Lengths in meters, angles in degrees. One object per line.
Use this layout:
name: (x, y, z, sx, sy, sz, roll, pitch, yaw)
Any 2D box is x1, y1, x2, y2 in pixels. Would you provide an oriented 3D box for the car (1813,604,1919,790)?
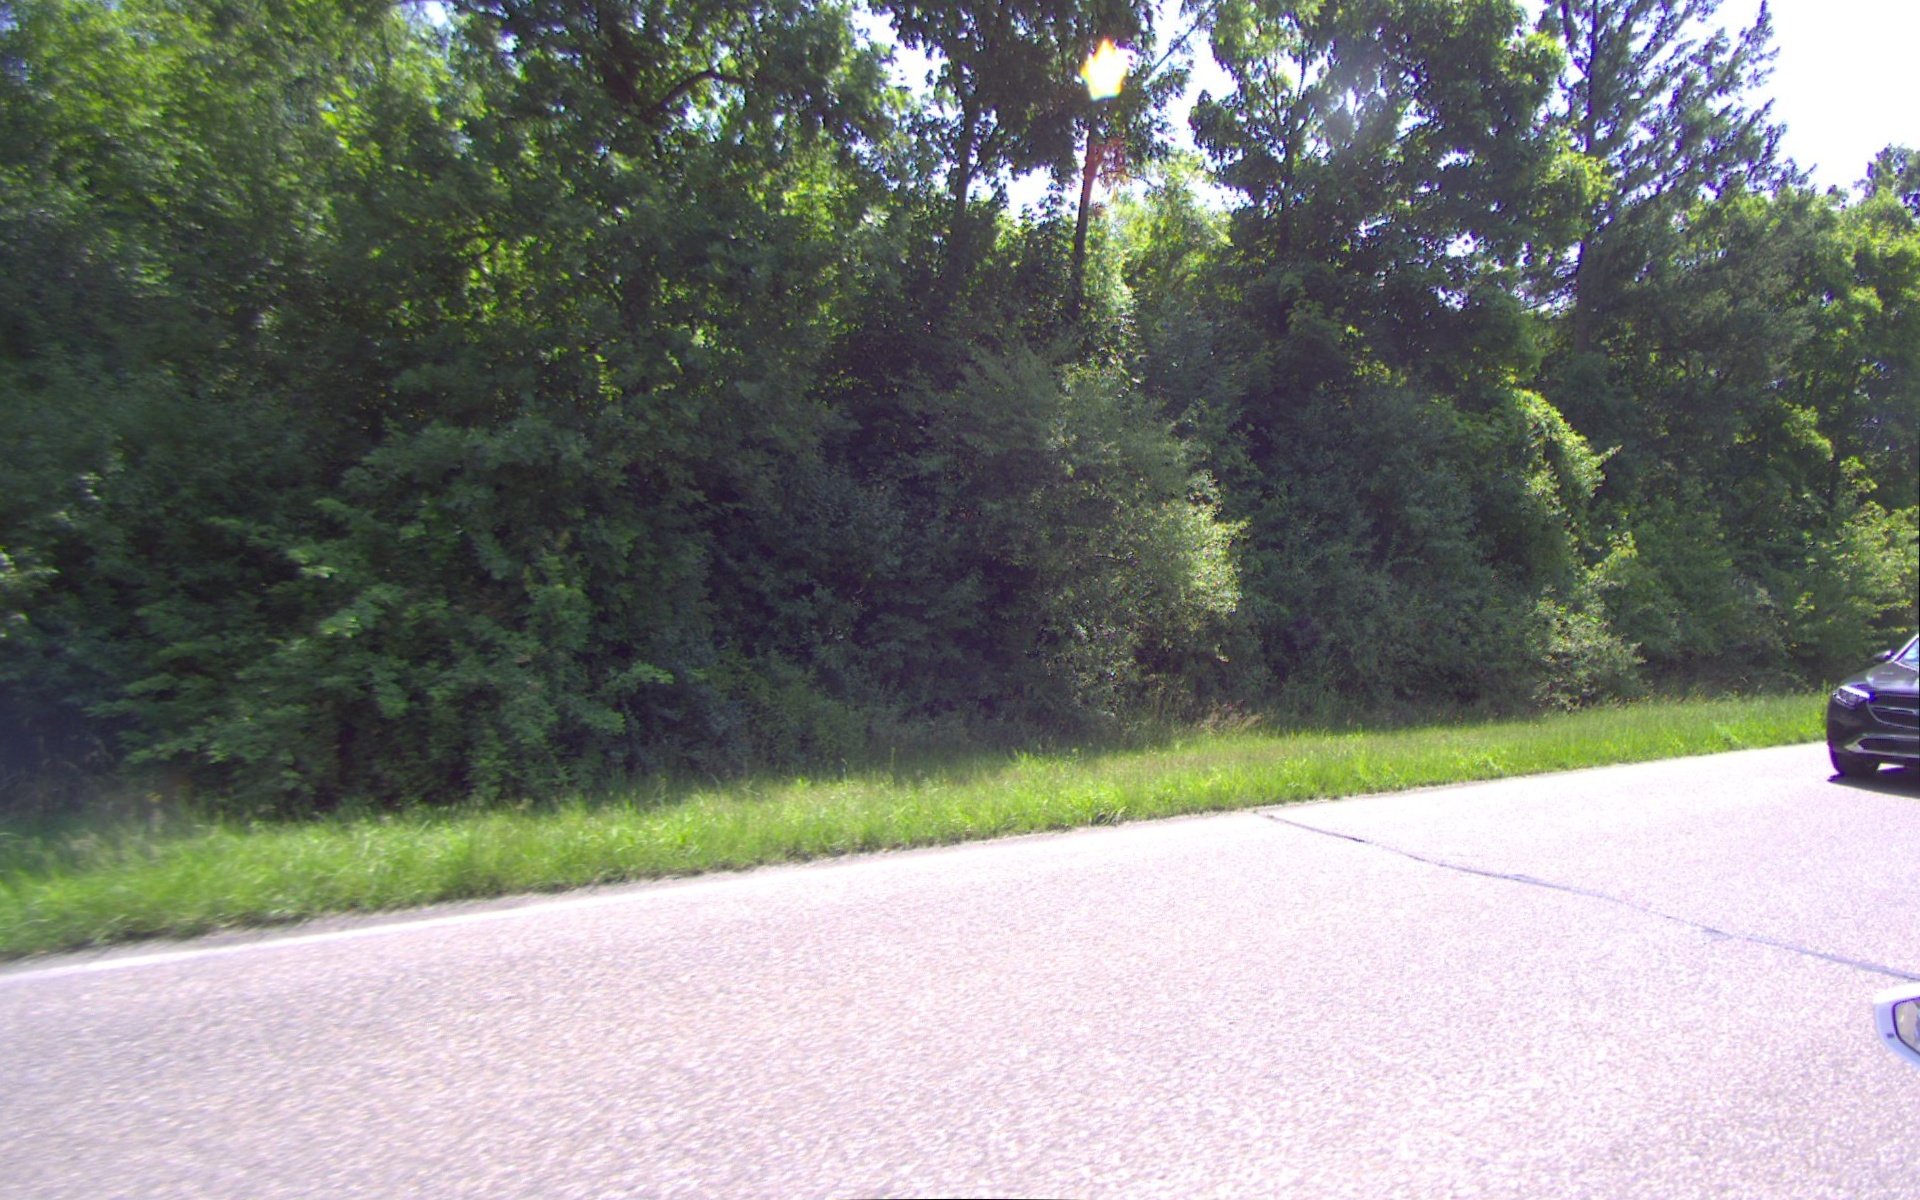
car: (10.420, 0.902, 9.901, 4.152, 1.646, 1.856, 1, 0, -31)
